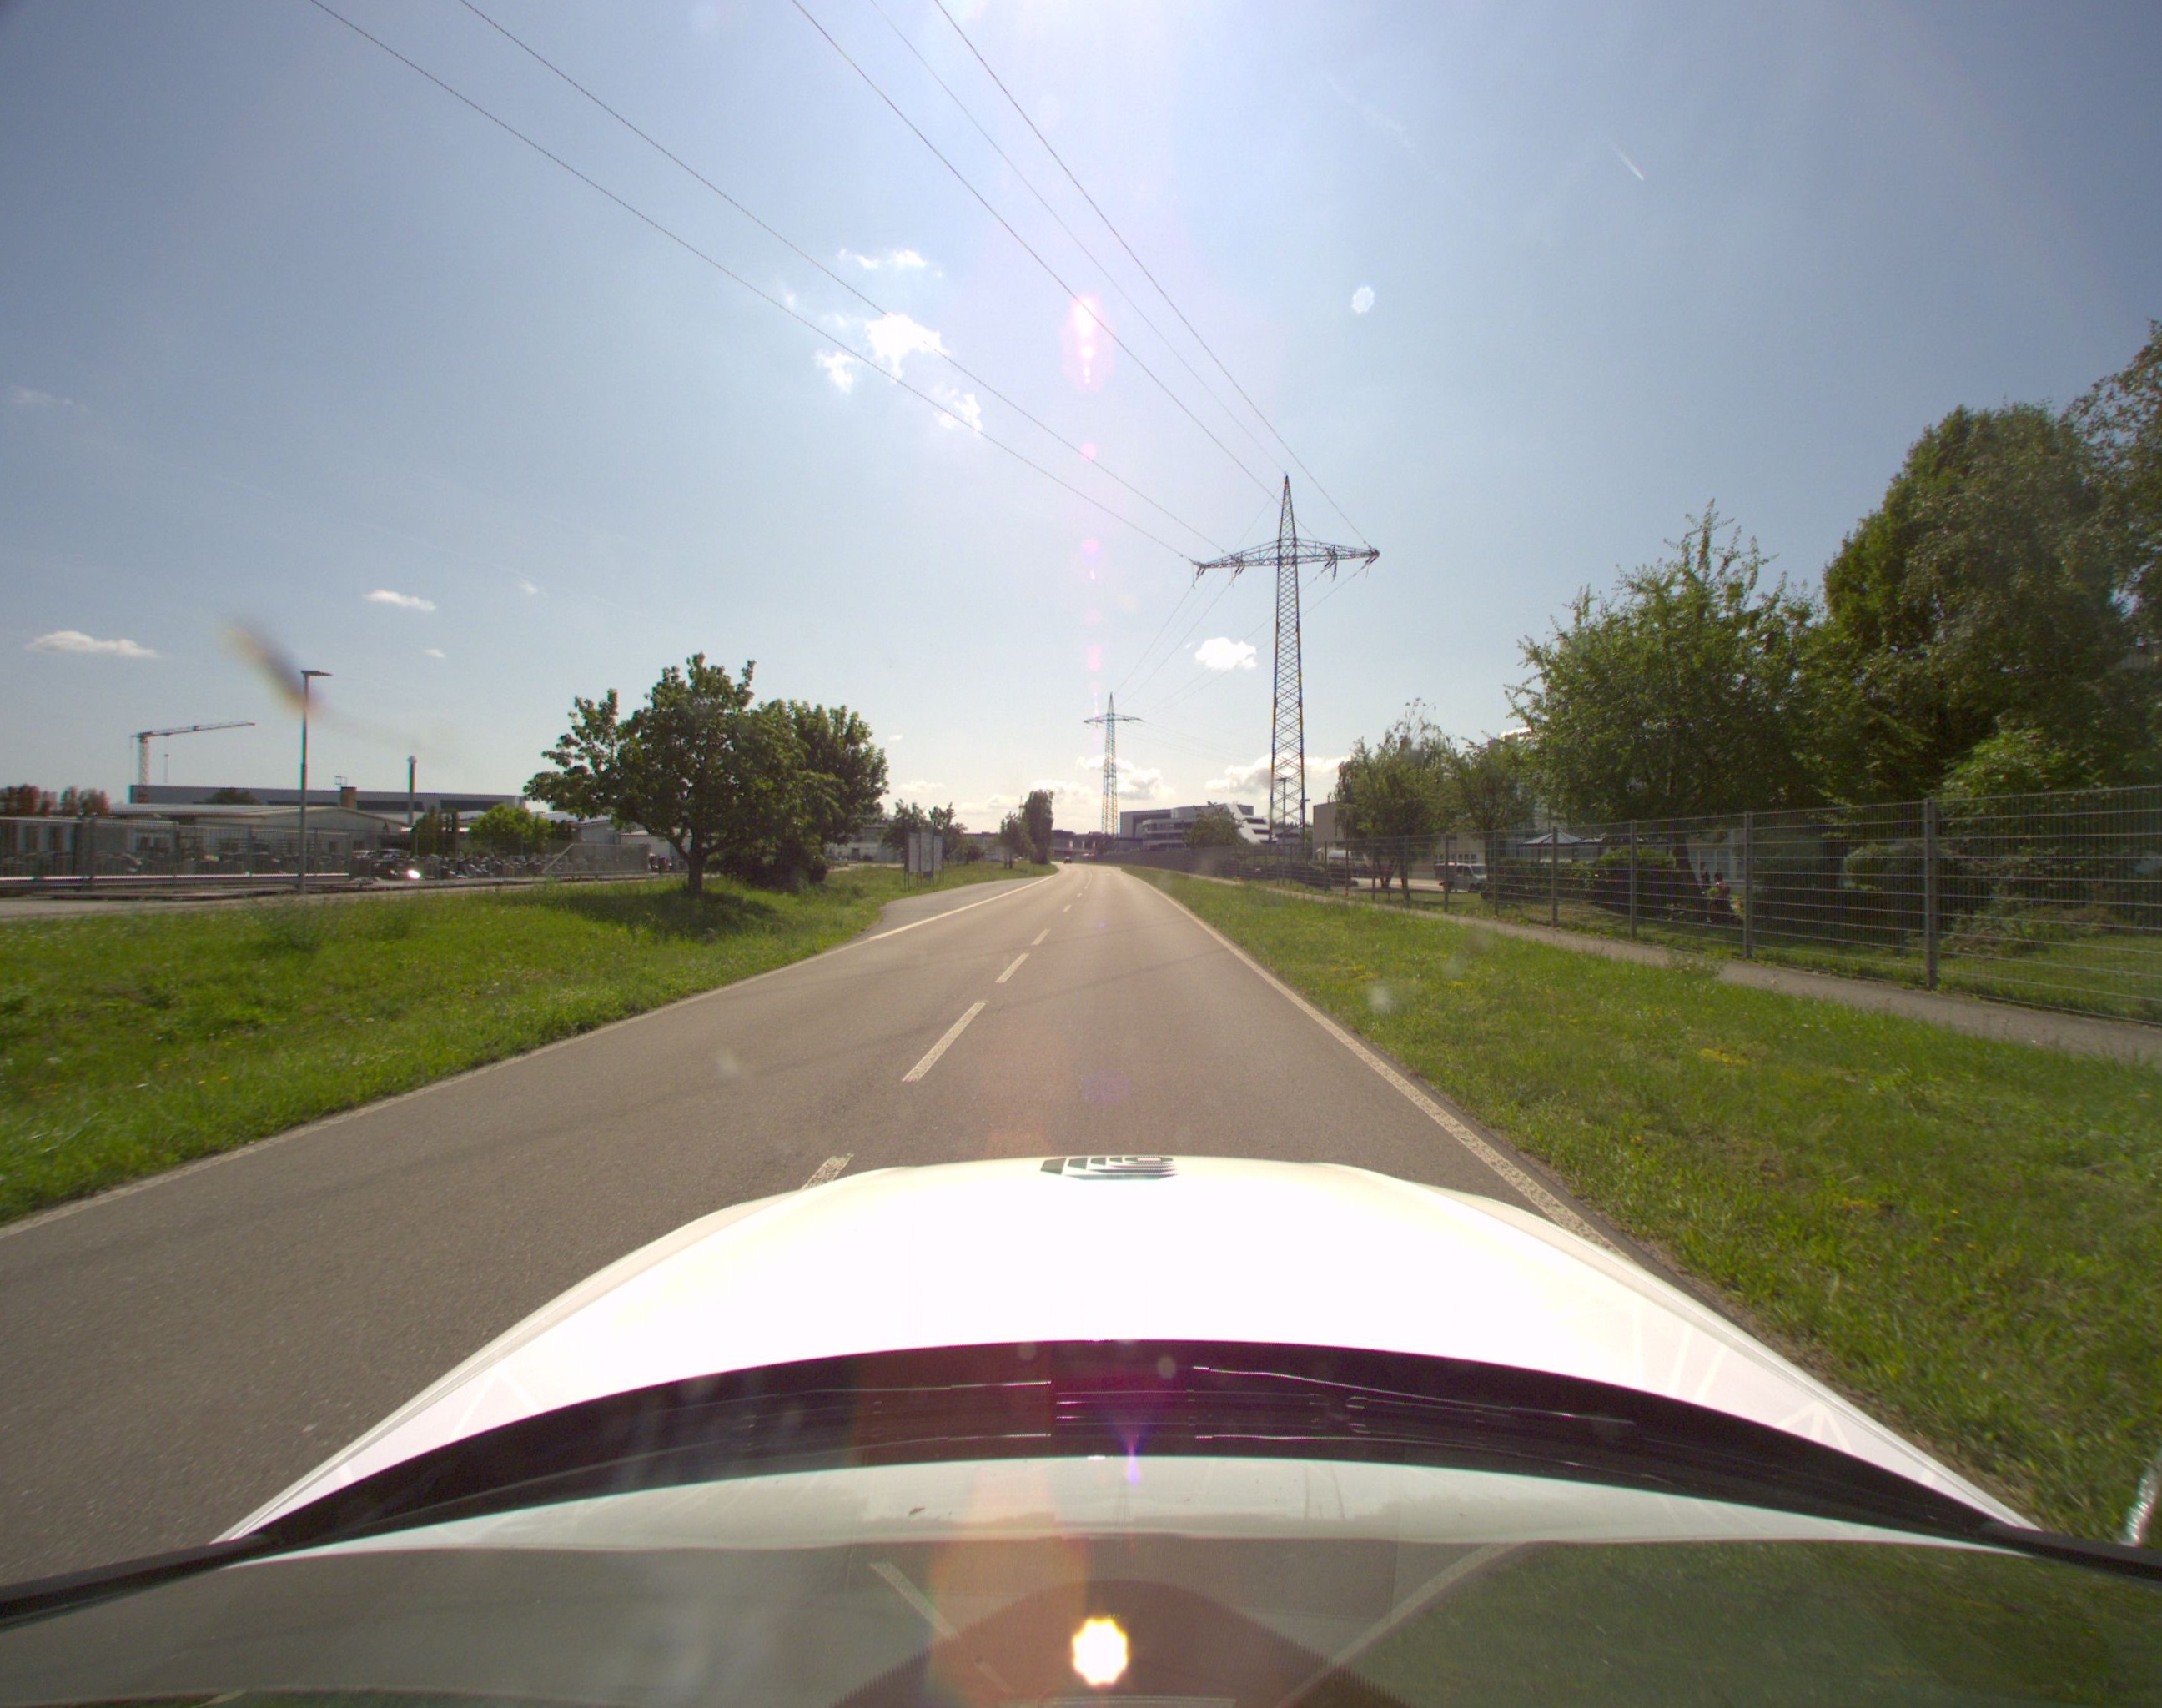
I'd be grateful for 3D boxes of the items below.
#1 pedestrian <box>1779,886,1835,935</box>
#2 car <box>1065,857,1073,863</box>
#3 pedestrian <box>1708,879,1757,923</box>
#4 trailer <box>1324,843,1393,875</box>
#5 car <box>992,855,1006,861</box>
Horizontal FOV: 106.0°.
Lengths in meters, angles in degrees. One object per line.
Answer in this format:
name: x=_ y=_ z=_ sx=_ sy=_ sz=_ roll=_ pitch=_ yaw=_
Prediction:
pedestrian: x=13.841 y=1.068 z=15.531 sx=0.665 sy=0.893 sz=0.509 roll=1 pitch=-1 yaw=-13
car: x=-3.028 y=1.562 z=199.886 sx=2.006 sy=1.508 sz=3.997 roll=-1 pitch=-1 yaw=-1
pedestrian: x=13.918 y=0.993 z=17.406 sx=0.508 sy=0.893 sz=0.666 roll=1 pitch=-1 yaw=0
trailer: x=34.432 y=0.604 z=101.858 sx=3.585 sy=3.735 sz=12.216 roll=-1 pitch=0 yaw=-5
car: x=-23.961 y=1.215 z=239.015 sx=3.982 sy=1.574 sz=1.995 roll=4 pitch=-4 yaw=-7
